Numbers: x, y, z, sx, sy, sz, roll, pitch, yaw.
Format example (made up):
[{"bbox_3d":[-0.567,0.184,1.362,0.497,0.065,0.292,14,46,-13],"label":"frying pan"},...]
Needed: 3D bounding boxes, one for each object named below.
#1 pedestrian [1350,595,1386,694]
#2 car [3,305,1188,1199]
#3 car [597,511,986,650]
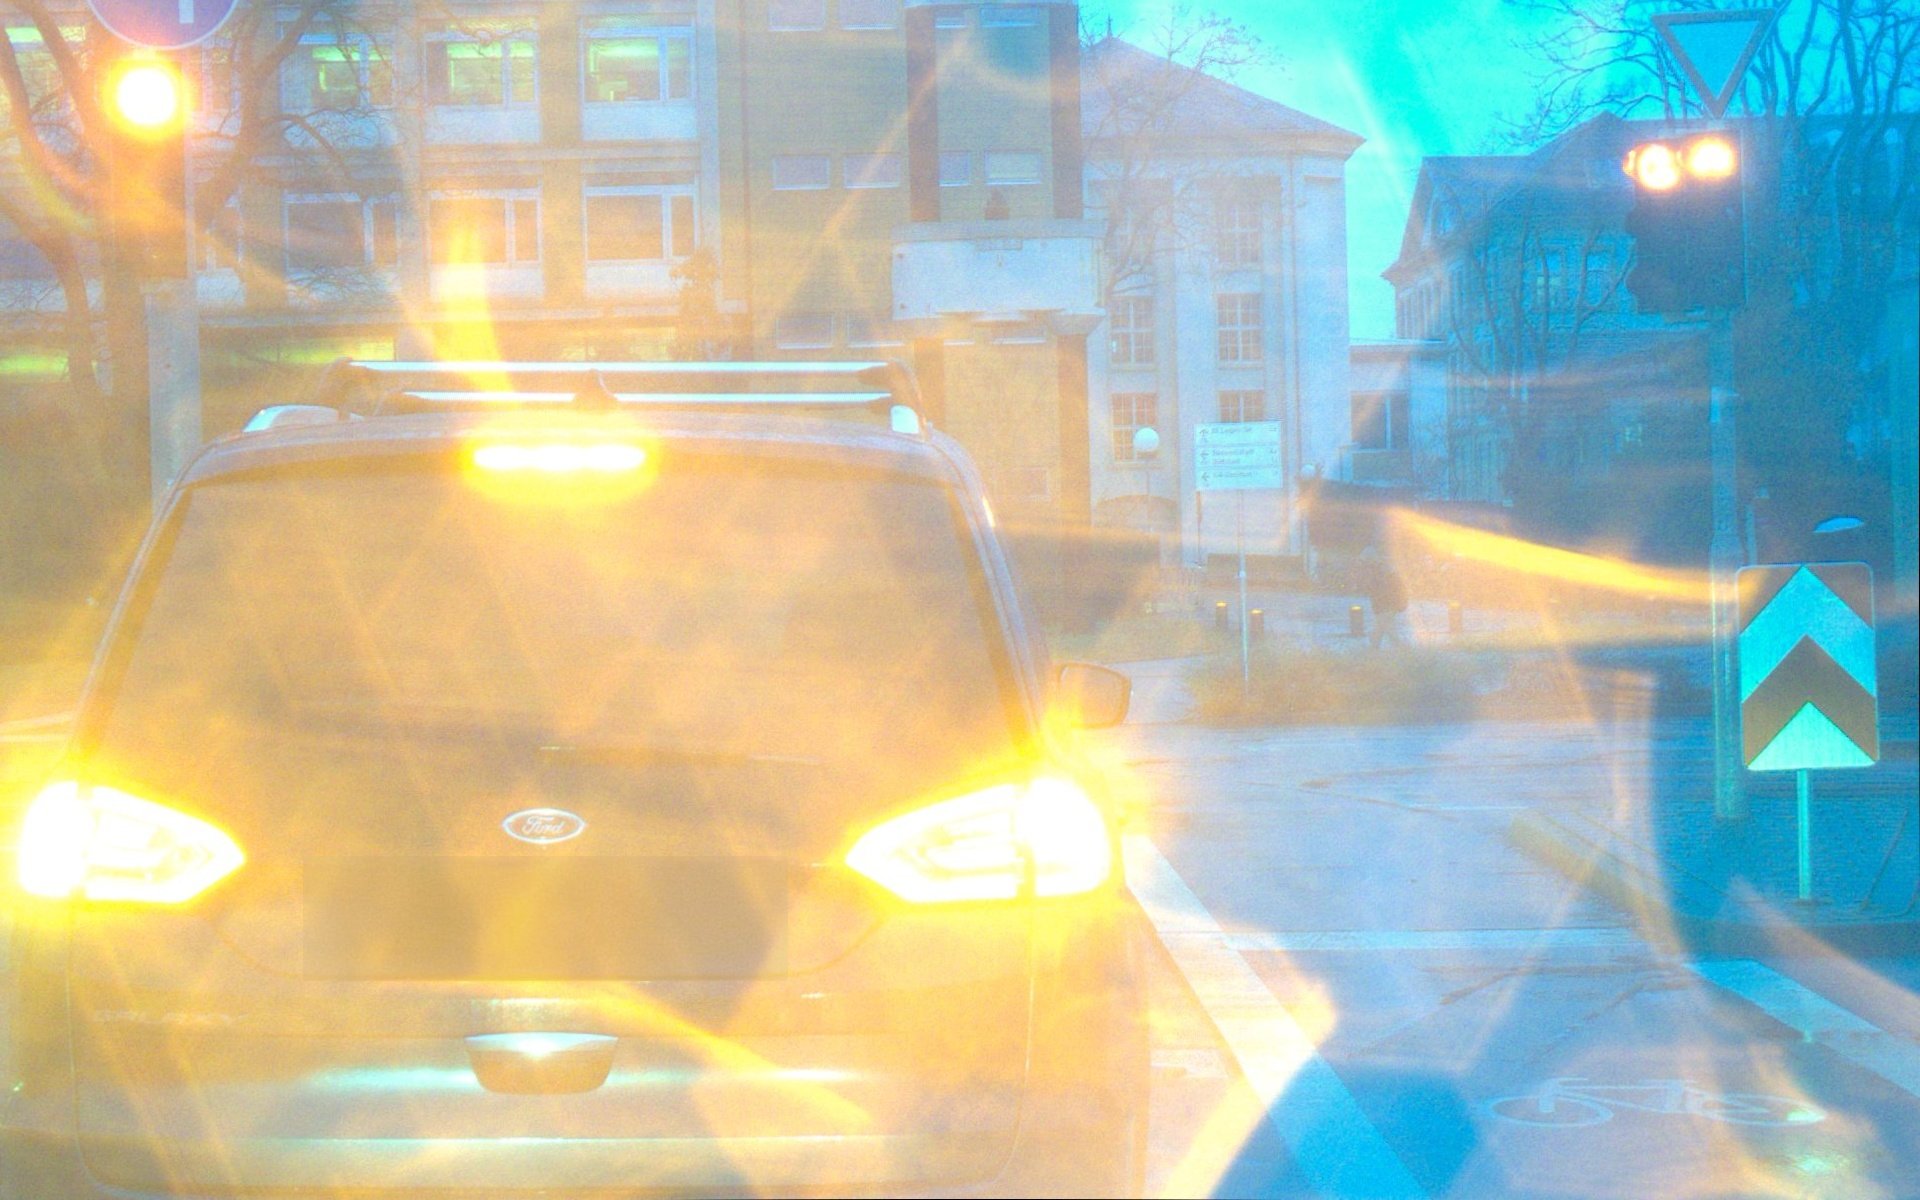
[{"bbox_3d":[5.242,0.571,44.144,0.432,1.266,0.441,0,-1,11],"label":"pedestrian"},{"bbox_3d":[-0.533,0.454,6.799,1.647,1.812,4.000,0,1,-1],"label":"car"},{"bbox_3d":[-2.459,-0.269,51.124,5.548,2.017,1.999,0,-1,6],"label":"car"}]
